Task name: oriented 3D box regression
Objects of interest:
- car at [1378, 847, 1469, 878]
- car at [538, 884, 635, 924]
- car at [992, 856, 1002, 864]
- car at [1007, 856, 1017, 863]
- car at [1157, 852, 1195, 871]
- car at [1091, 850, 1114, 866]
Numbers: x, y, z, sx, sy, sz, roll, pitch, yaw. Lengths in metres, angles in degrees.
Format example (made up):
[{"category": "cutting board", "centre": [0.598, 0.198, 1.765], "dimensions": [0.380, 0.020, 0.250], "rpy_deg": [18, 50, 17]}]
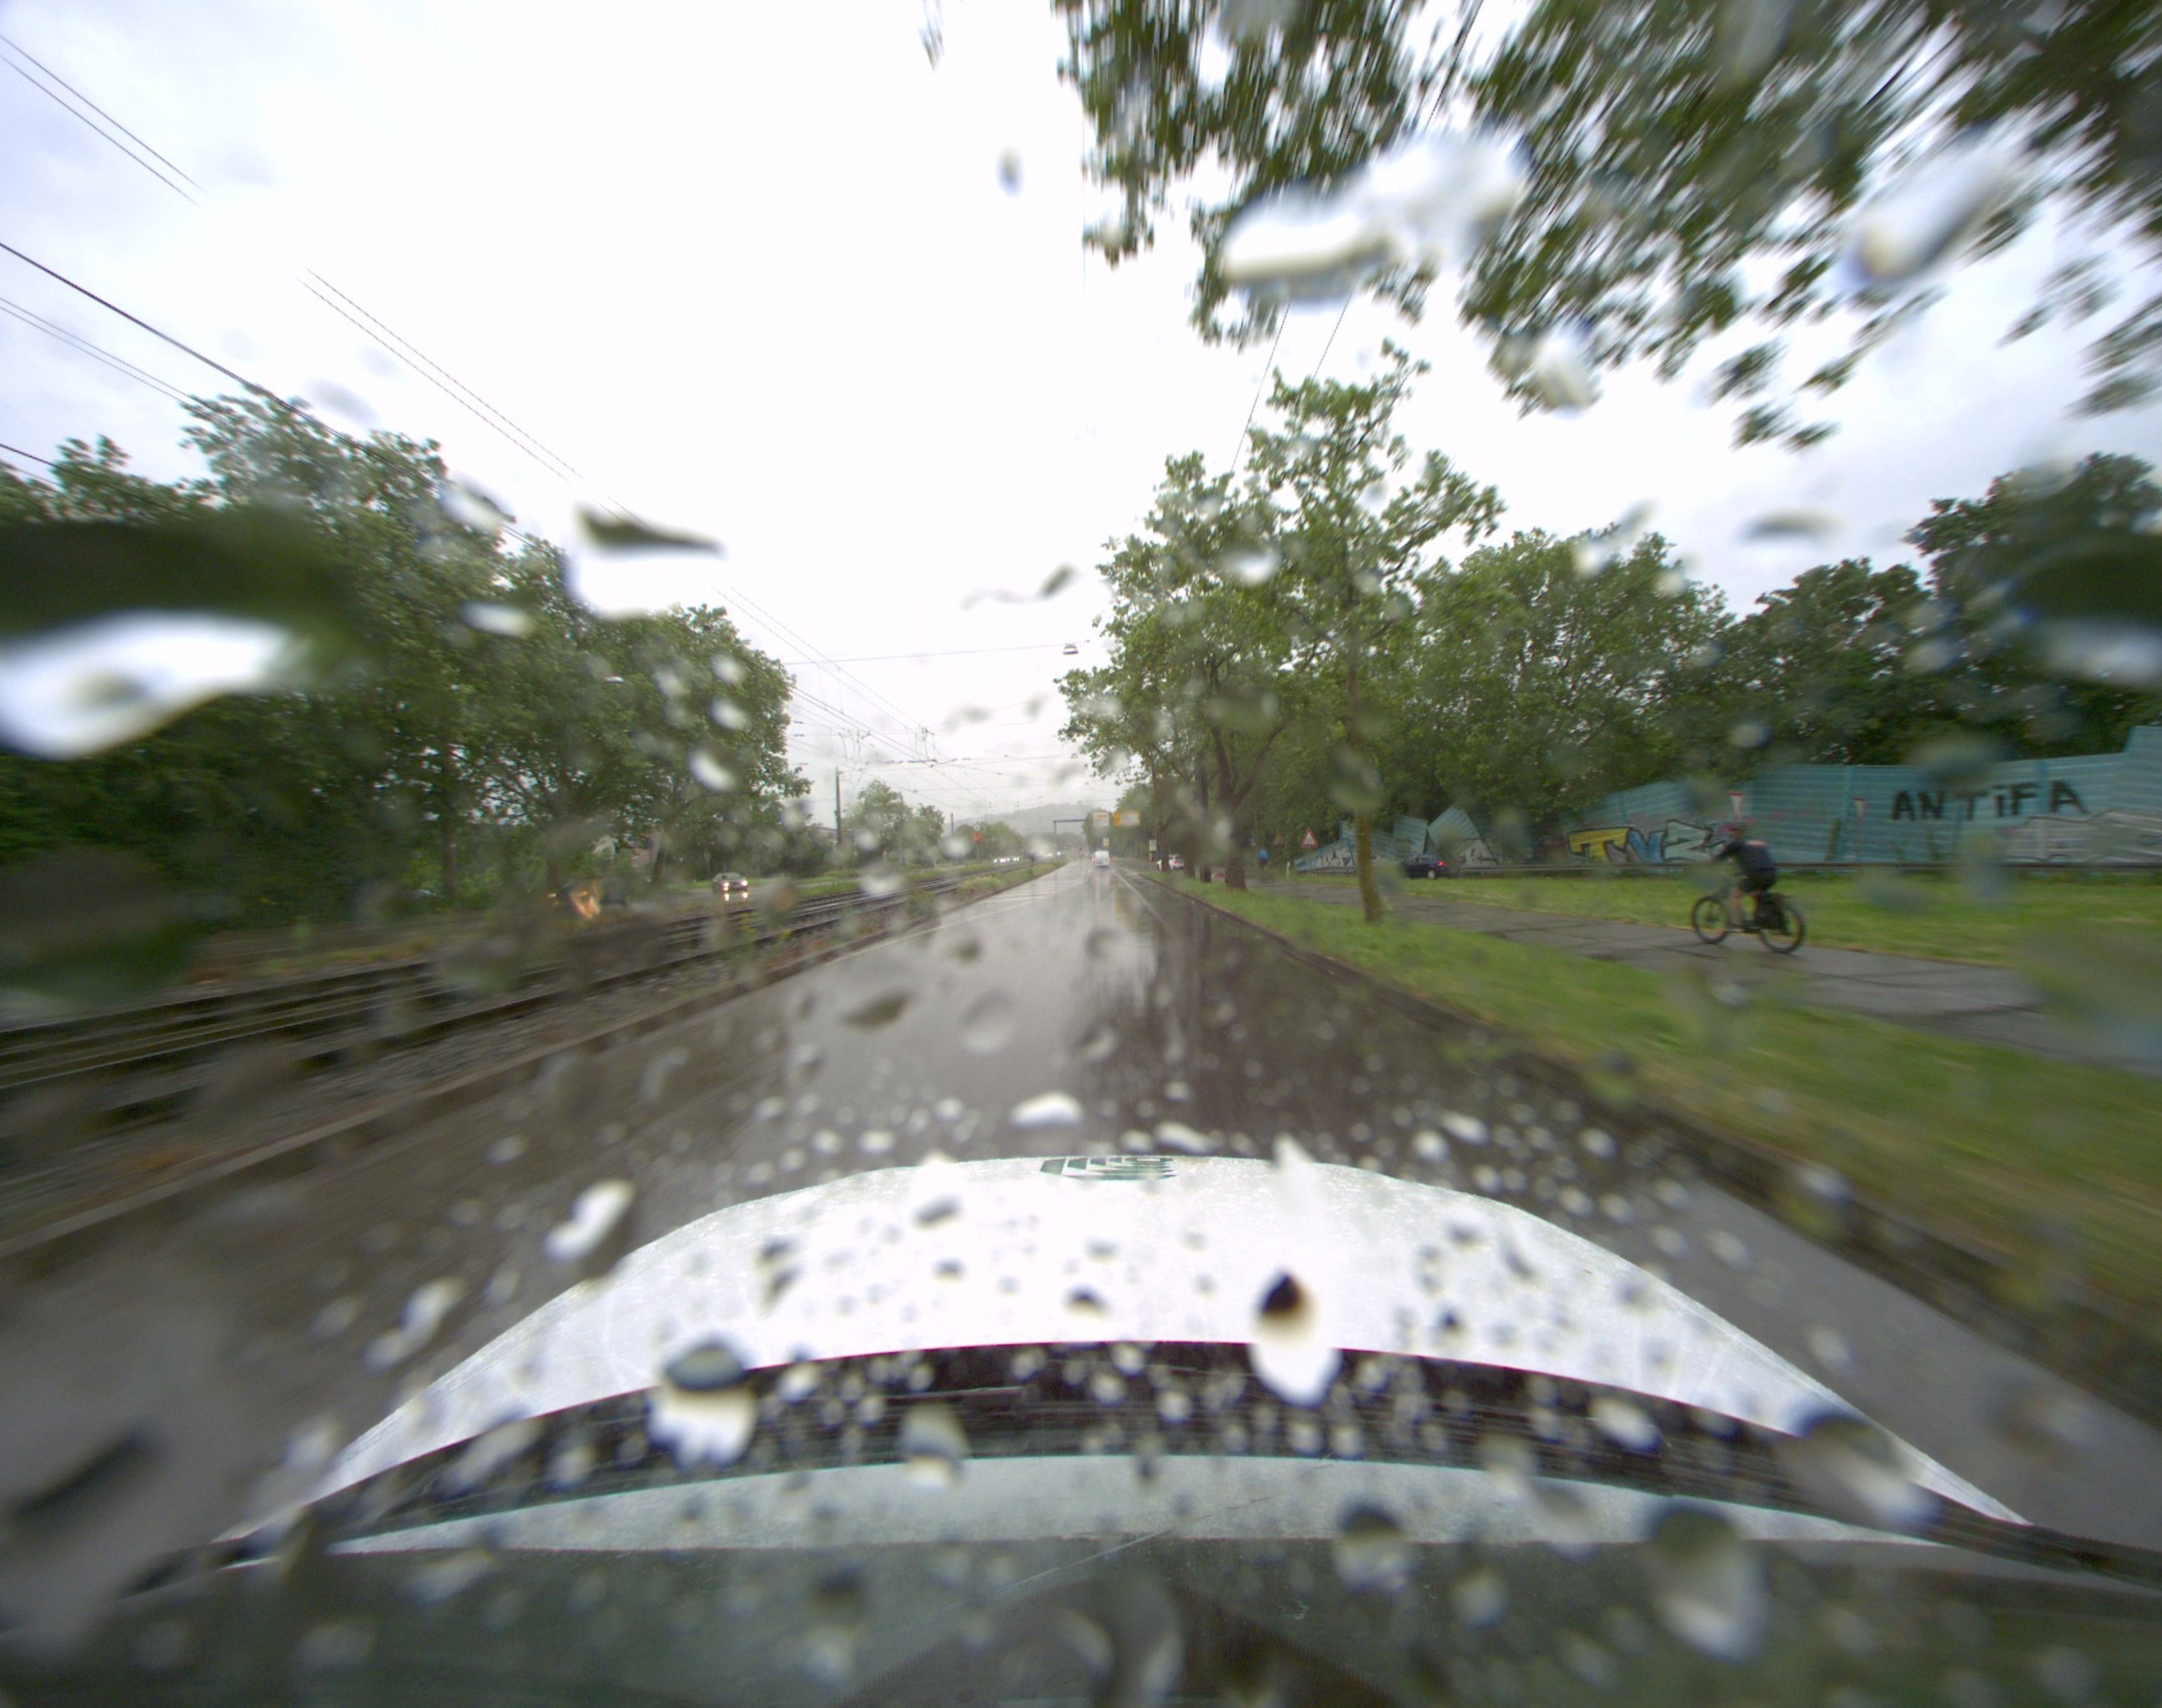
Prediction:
[{"category": "car", "centre": [18.589, 0.465, 44.430], "dimensions": [1.872, 1.536, 4.479], "rpy_deg": [-1, 0, -25]}, {"category": "car", "centre": [-20.862, 2.070, 34.542], "dimensions": [1.677, 1.406, 3.938], "rpy_deg": [-2, 0, -1]}, {"category": "car", "centre": [-19.485, 1.383, 188.891], "dimensions": [1.939, 1.686, 4.775], "rpy_deg": [-2, 0, -3]}, {"category": "car", "centre": [-15.931, 1.262, 188.426], "dimensions": [1.939, 1.616, 4.983], "rpy_deg": [-2, 0, -3]}, {"category": "car", "centre": [8.108, 0.610, 69.911], "dimensions": [1.949, 1.536, 4.449], "rpy_deg": [-2, 0, -11]}, {"category": "car", "centre": [2.094, 0.396, 78.914], "dimensions": [2.071, 1.420, 4.000], "rpy_deg": [-3, 0, 0]}]
